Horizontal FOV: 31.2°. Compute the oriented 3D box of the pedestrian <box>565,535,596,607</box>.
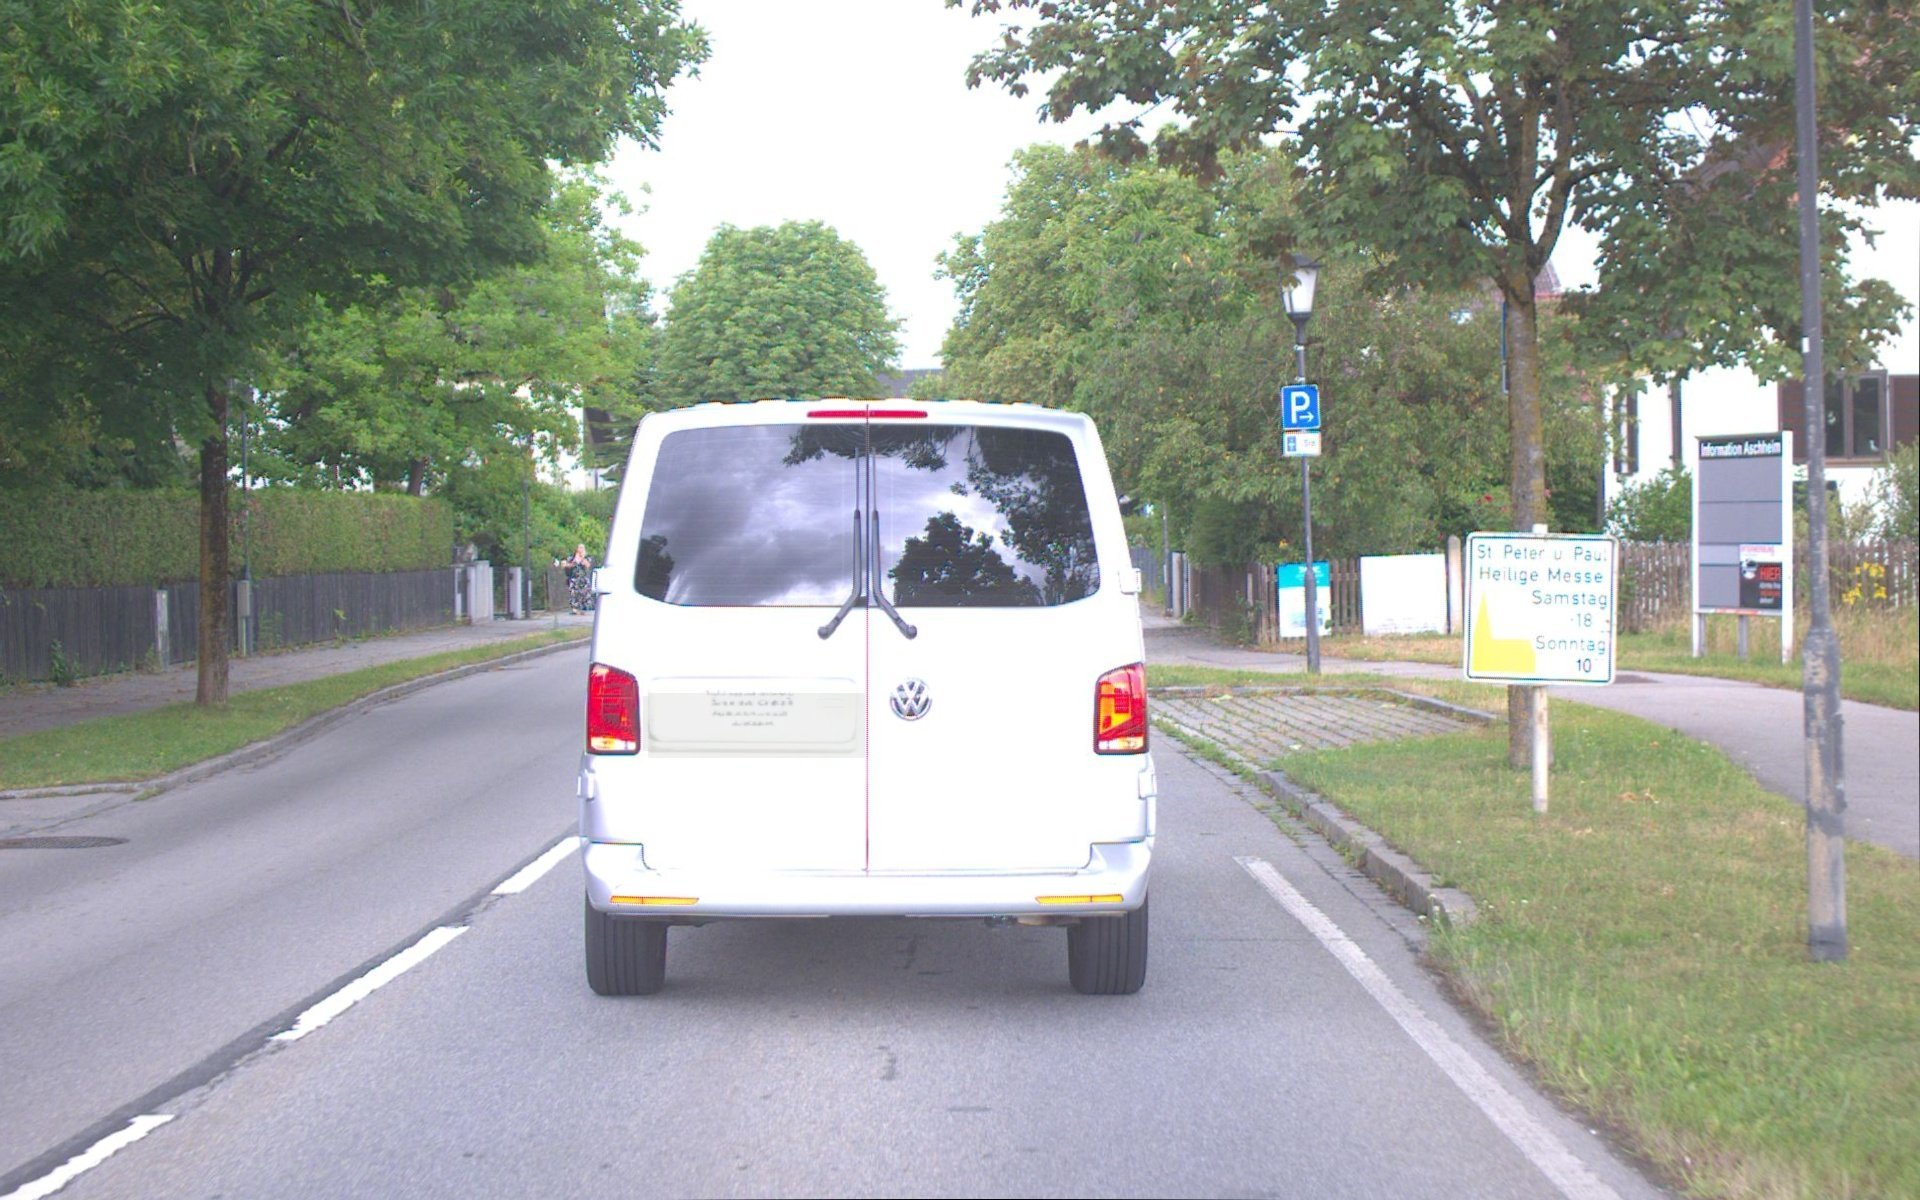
[{"bbox_3d":[-8.251,-0.632,74.771,0.622,1.544,0.522,1,1,-3],"label":"pedestrian"}]

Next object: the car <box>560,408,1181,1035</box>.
[{"bbox_3d":[-0.270,0.341,12.453,1.888,1.905,4.000,0,1,0],"label":"car"}]
